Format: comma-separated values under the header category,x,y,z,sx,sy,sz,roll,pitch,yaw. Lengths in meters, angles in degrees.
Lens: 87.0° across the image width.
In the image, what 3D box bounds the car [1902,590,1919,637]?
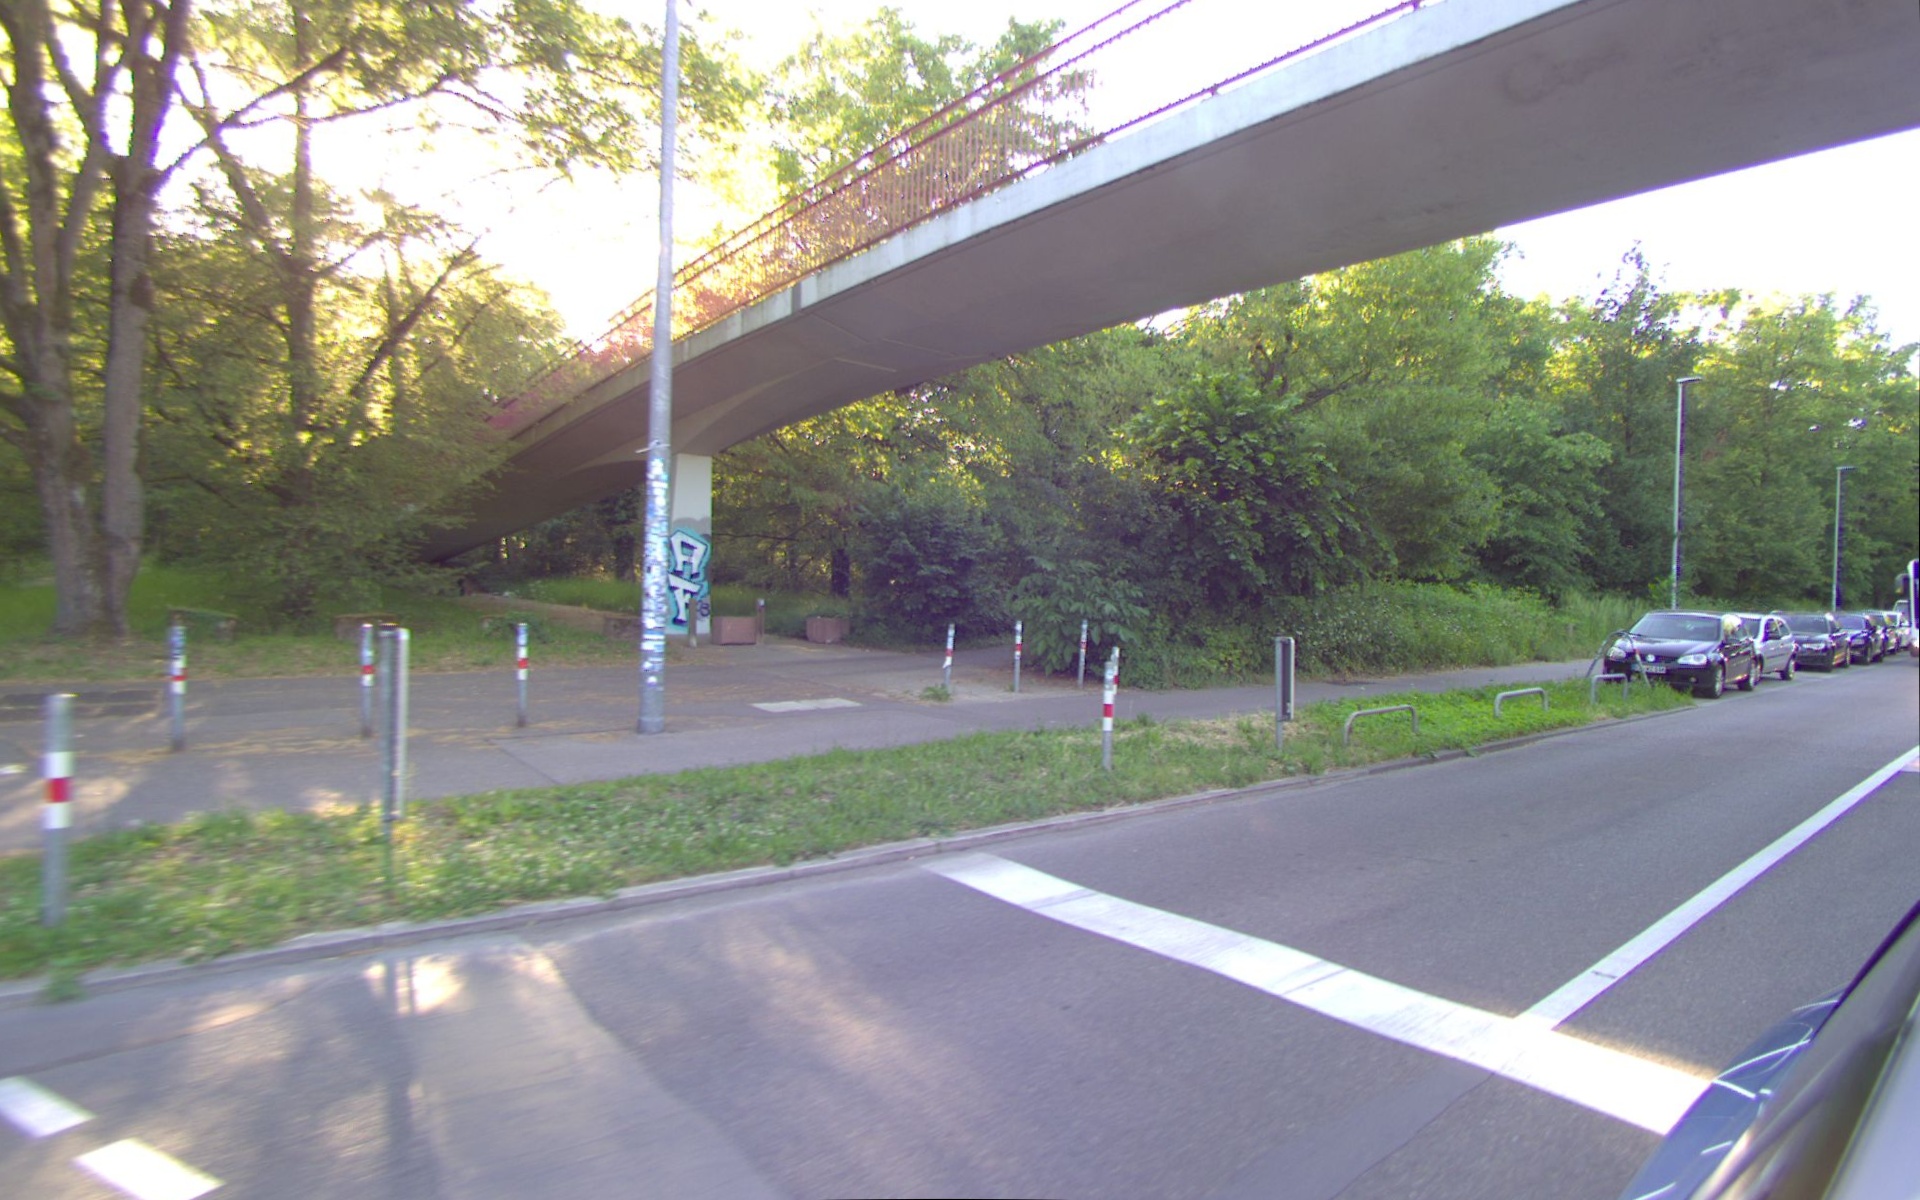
category,x,y,z,sx,sy,sz,roll,pitch,yaw
car,43.395,0.586,44.757,5.378,2.005,1.873,0,2,-40

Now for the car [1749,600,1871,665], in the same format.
category,x,y,z,sx,sy,sz,roll,pitch,yaw
car,22.495,0.785,26.709,4.952,1.471,1.777,0,2,-42

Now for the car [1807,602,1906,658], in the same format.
category,x,y,z,sx,sy,sz,roll,pitch,yaw
car,26.604,0.827,29.975,4.814,1.471,1.640,0,2,-42

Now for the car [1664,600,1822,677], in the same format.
category,x,y,z,sx,sy,sz,roll,pitch,yaw
car,17.190,0.779,22.158,3.940,1.471,1.779,0,2,-38

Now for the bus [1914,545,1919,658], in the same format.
category,x,y,z,sx,sy,sz,roll,pitch,yaw
bus,31.904,0.051,30.880,12.660,3.086,2.810,0,0,-41

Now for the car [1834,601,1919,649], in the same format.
category,x,y,z,sx,sy,sz,roll,pitch,yaw
car,31.036,0.796,34.253,3.873,1.471,1.589,0,2,-40

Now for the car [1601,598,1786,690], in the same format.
category,x,y,z,sx,sy,sz,roll,pitch,yaw
car,13.777,0.732,18.912,4.310,1.471,1.778,0,2,-40

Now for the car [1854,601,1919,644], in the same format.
category,x,y,z,sx,sy,sz,roll,pitch,yaw
car,34.636,0.795,37.538,3.730,1.471,1.589,0,2,-39
